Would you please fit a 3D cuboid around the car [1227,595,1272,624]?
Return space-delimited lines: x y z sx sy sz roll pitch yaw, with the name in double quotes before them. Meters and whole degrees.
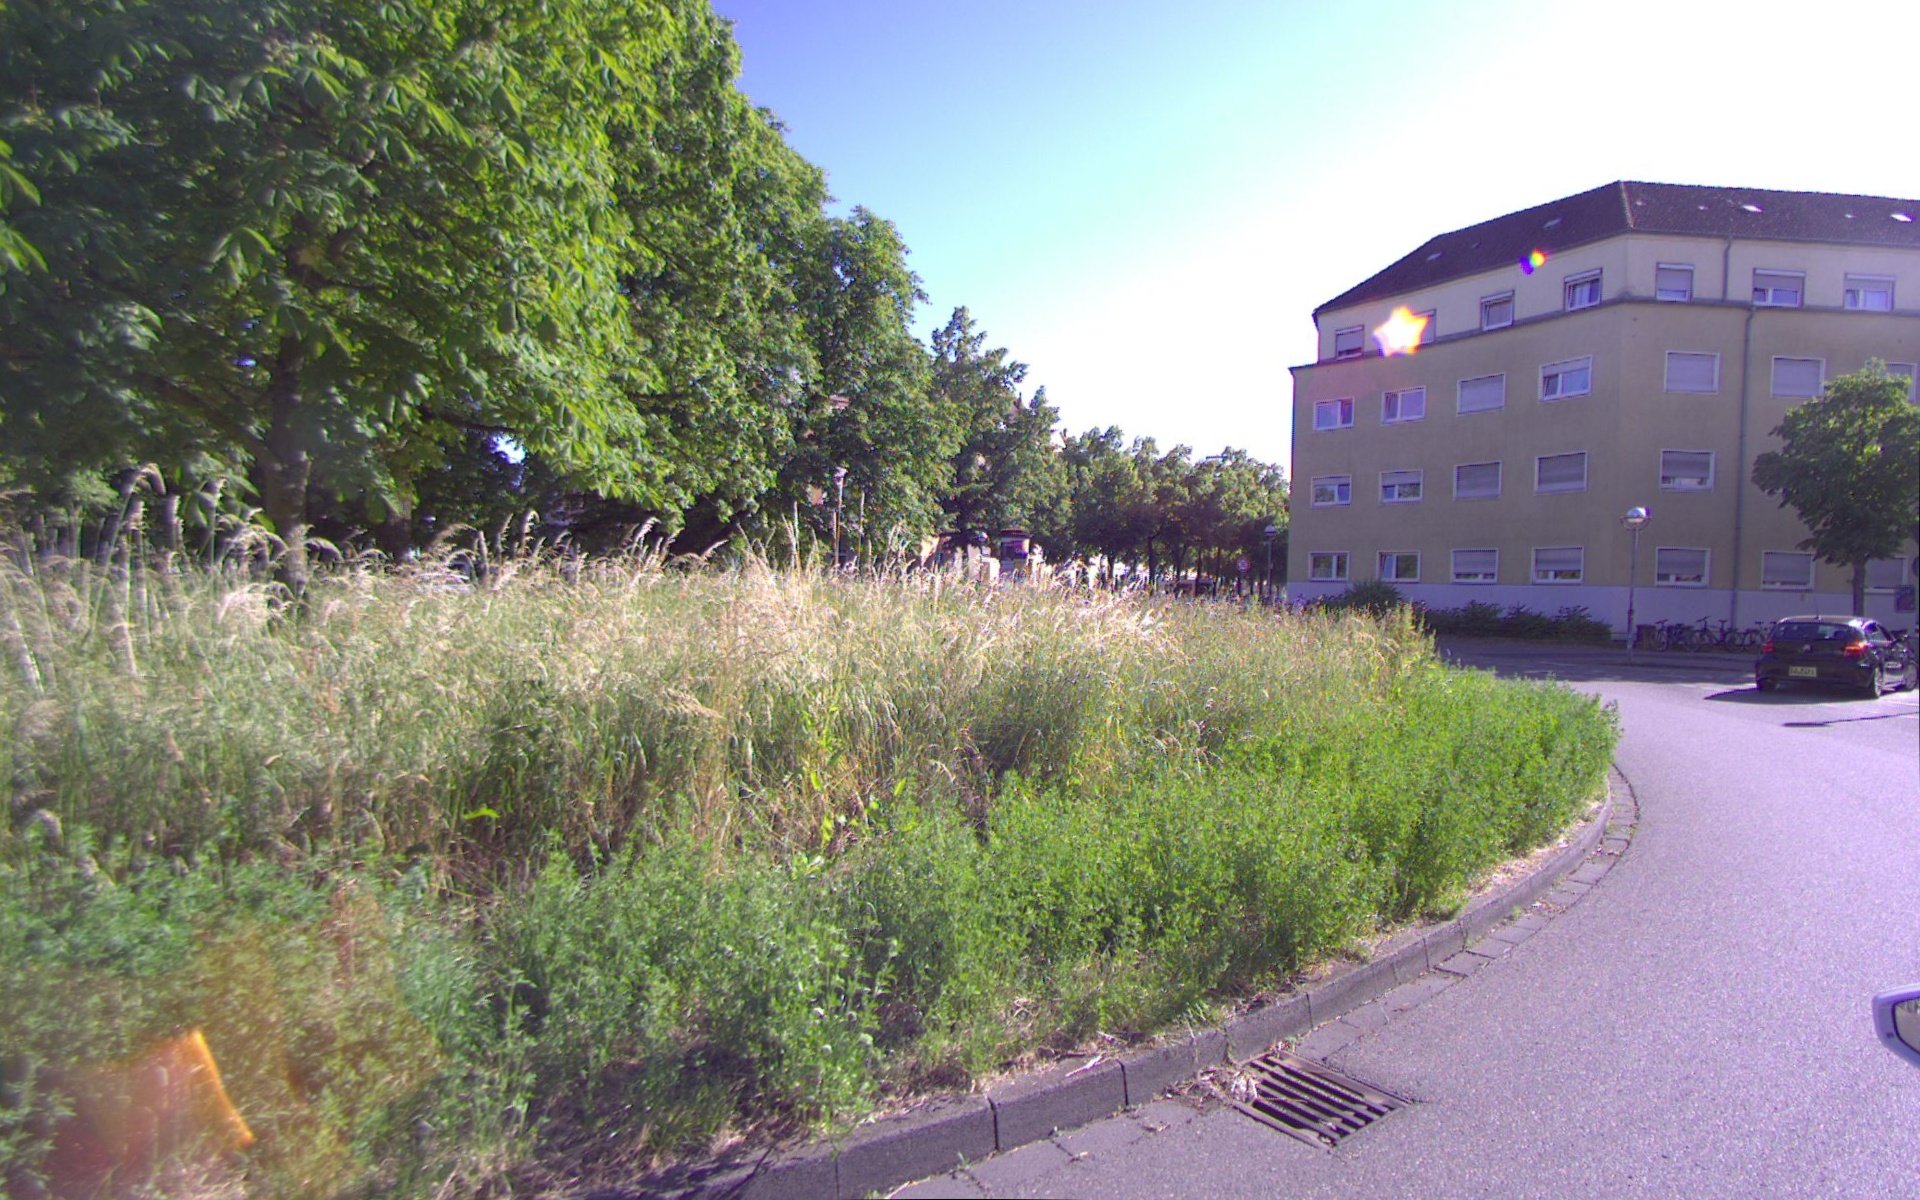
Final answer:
"car" 15.781 0.503 54.630 1.702 1.458 4.384 2 0 25

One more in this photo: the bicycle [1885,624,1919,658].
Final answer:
"bicycle" 30.514 1.306 32.030 1.420 1.040 0.500 2 1 8

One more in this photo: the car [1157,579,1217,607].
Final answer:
"car" 17.222 -0.545 76.415 2.147 2.014 4.166 2 0 -30

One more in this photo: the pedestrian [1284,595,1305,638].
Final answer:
"pedestrian" 11.904 0.579 35.749 0.638 1.544 0.697 0 0 25

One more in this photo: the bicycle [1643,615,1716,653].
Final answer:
"bicycle" 22.576 1.052 31.545 1.767 1.122 0.499 2 1 28

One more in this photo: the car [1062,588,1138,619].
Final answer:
"car" 7.553 0.188 54.279 3.623 1.567 1.727 2 0 35

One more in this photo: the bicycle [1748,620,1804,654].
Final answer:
"bicycle" 25.836 1.174 31.820 1.422 1.040 0.500 1 1 -6

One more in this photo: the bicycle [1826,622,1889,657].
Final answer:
"bicycle" 28.509 1.247 31.918 1.420 1.040 0.500 2 1 8

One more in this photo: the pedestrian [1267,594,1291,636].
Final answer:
"pedestrian" 11.969 0.548 37.733 0.810 1.544 0.697 0 0 22

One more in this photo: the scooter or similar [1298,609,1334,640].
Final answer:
"scooter or similar" 12.512 0.849 35.266 0.893 1.037 0.905 0 0 -45

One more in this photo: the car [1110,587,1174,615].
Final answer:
"car" 11.701 0.068 64.511 3.623 1.658 1.727 2 0 35

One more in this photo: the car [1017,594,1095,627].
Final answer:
"car" 4.859 0.521 51.070 3.629 1.567 1.725 2 0 40

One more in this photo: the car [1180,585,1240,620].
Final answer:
"car" 11.128 0.132 44.478 1.700 1.430 4.486 2 0 25

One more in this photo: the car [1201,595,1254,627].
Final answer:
"car" 13.068 0.552 48.893 1.702 1.458 4.384 2 0 25

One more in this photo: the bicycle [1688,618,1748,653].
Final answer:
"bicycle" 24.031 1.128 31.881 1.423 1.040 0.499 2 1 28

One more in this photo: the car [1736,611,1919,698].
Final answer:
"car" 16.341 0.946 18.867 3.964 1.438 1.851 1 0 -38
